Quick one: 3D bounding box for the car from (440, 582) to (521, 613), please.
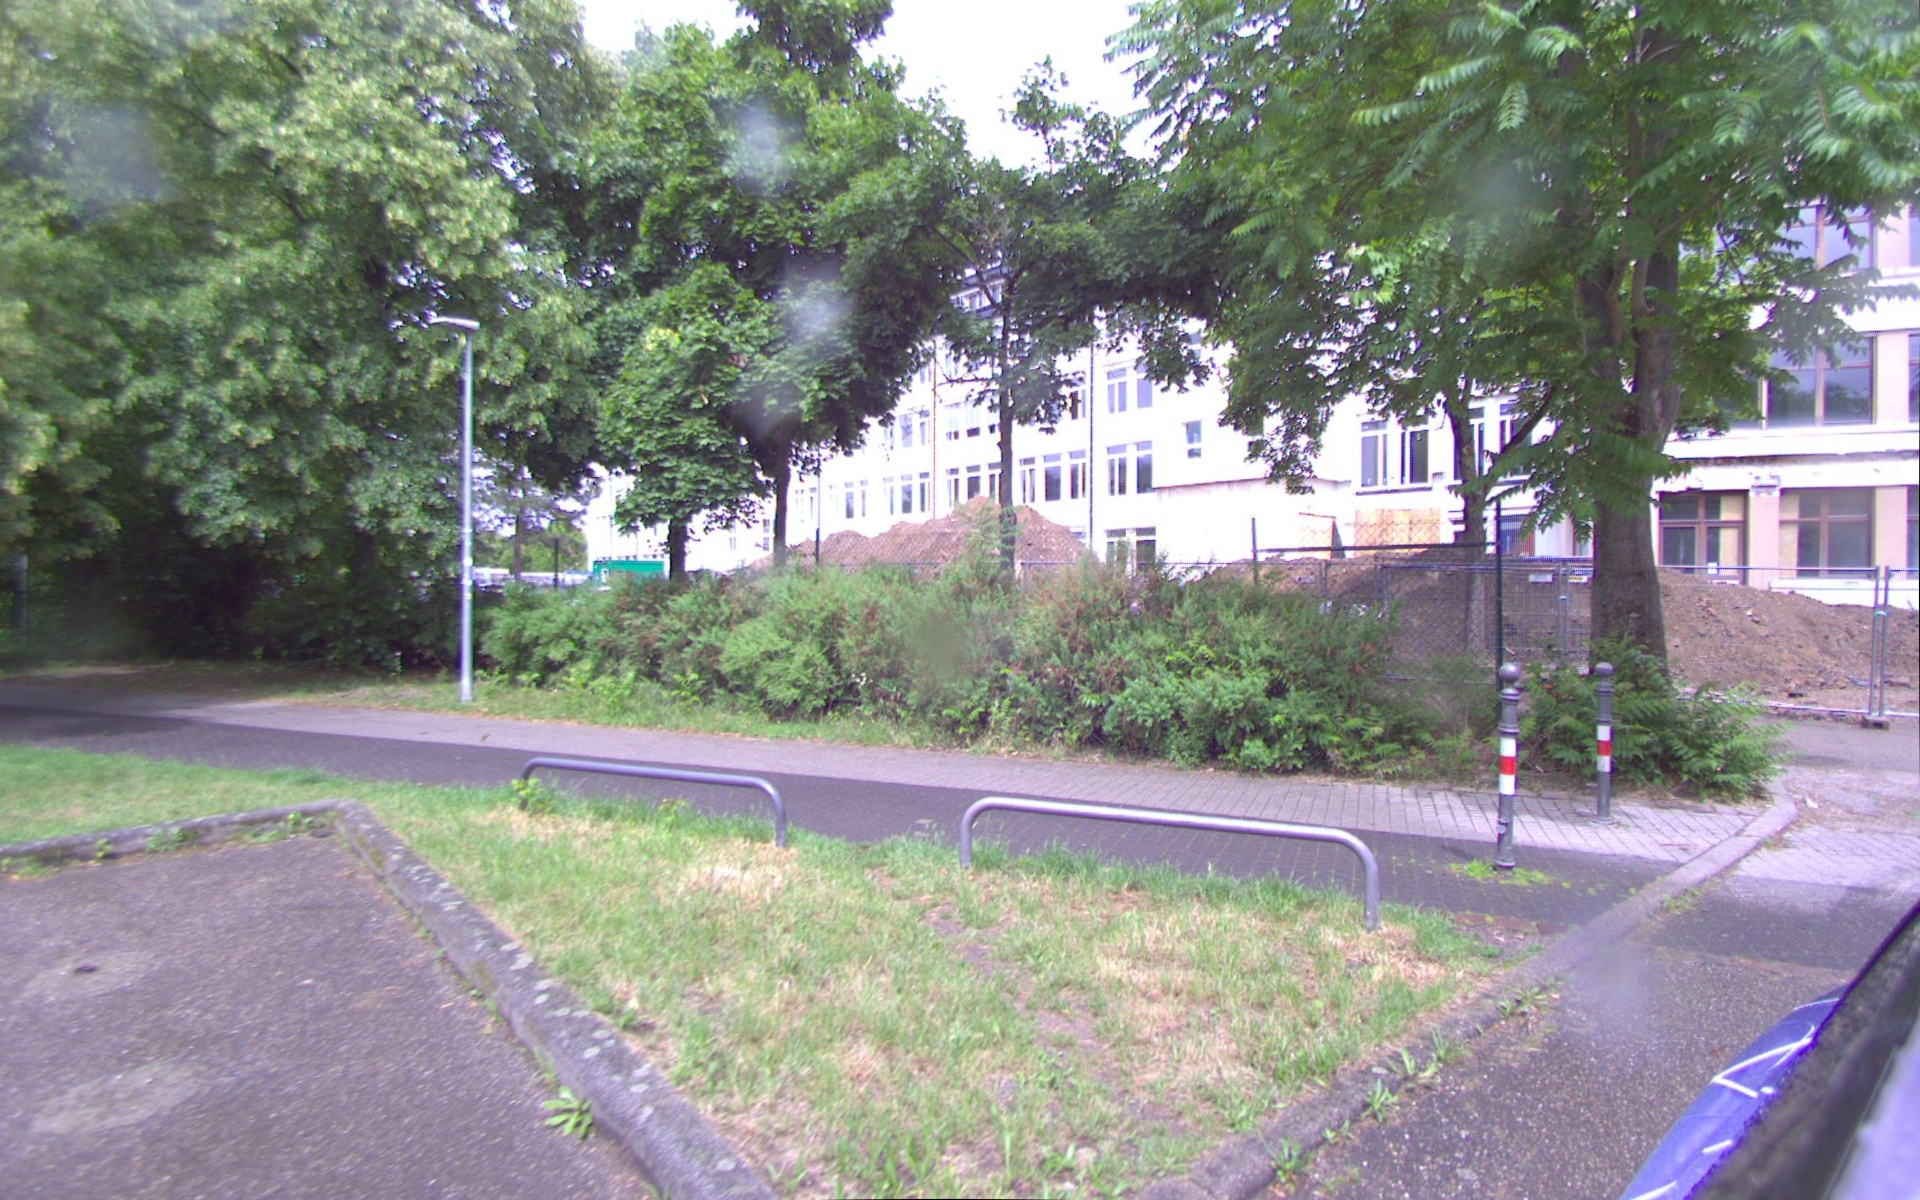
[{"bbox_3d":[-26.224,-0.162,55.359,3.667,1.620,1.836,-1,0,-41],"label":"car"}]

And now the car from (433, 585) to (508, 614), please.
[{"bbox_3d":[-28.705,-0.058,59.388,3.667,1.620,1.836,-1,0,-41],"label":"car"}]

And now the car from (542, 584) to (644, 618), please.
[{"bbox_3d":[-15.665,0.041,43.278,3.667,1.394,1.836,-1,0,-41],"label":"car"}]
